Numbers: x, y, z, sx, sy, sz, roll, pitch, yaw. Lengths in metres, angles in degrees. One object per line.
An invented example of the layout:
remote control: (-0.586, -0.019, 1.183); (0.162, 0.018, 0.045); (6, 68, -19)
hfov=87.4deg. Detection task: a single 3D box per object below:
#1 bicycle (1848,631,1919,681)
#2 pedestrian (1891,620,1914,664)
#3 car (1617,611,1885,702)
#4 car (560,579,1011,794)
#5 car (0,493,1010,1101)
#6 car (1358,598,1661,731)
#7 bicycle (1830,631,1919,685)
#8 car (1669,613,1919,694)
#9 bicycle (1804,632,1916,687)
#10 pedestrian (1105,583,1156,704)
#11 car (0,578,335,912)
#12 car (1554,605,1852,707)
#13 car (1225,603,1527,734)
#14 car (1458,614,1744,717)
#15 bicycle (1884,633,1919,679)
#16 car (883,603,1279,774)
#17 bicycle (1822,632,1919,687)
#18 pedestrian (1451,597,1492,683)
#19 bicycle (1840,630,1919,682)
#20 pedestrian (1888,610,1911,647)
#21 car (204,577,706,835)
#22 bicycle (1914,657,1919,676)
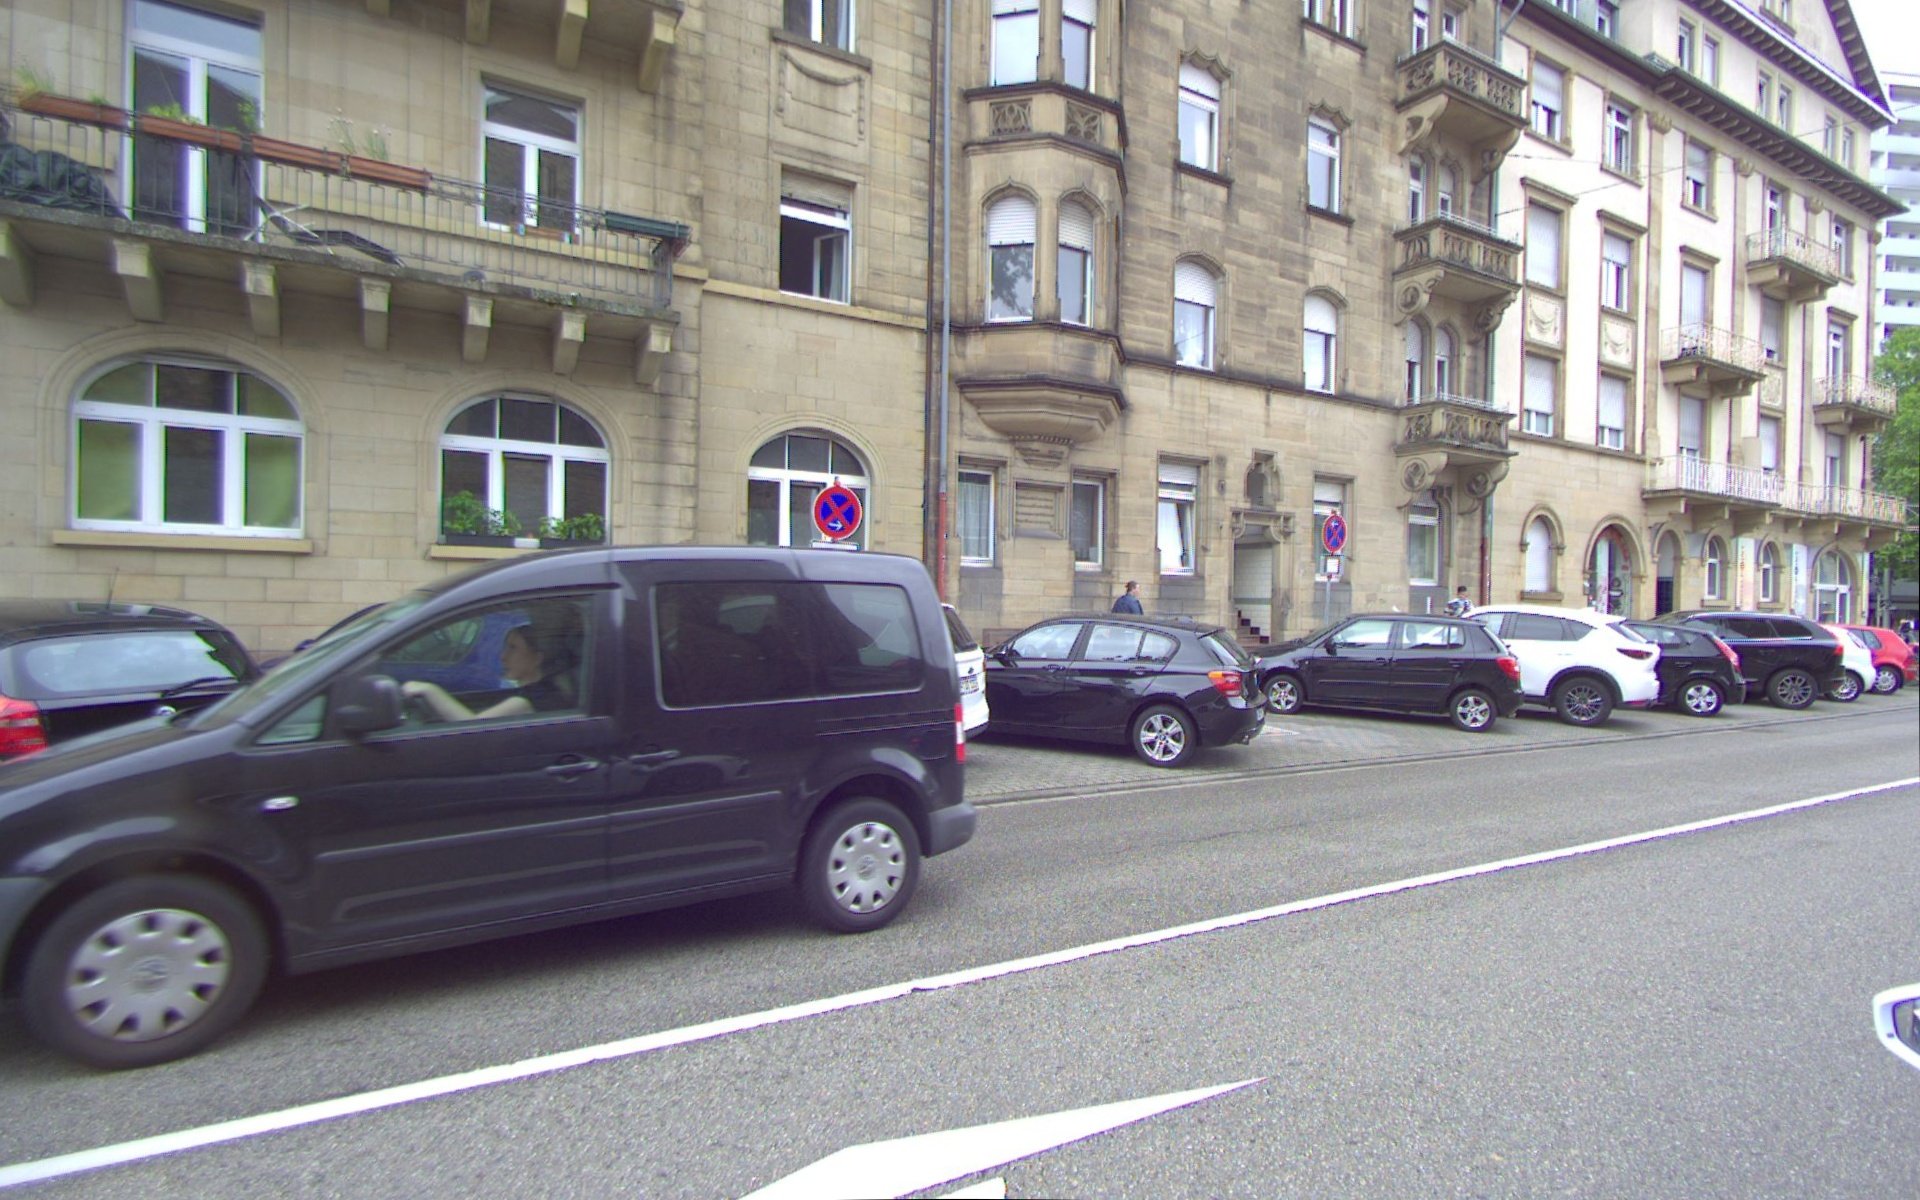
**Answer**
bicycle: (23.572, 1.422, 25.146); (0.437, 1.050, 1.876); (0, 6, -31)
pedestrian: (44.985, 2.012, 47.927); (0.610, 2.040, 0.622); (2, 0, -30)
car: (16.000, 1.096, 20.545); (3.920, 1.492, 1.564); (3, 2, 18)
car: (-1.666, 0.676, 9.622); (3.922, 1.575, 1.702); (3, 2, 22)
car: (-1.905, 0.628, 4.693); (4.086, 1.827, 1.683); (1, -1, -34)
car: (8.531, 0.893, 15.703); (3.935, 1.746, 1.835); (2, 0, 36)
bicycle: (22.495, 1.401, 24.445); (0.437, 1.050, 1.876); (0, 6, -31)
car: (18.301, 1.134, 22.179); (3.919, 1.492, 1.684); (2, 2, 12)
bicycle: (21.309, 1.391, 23.830); (0.436, 1.050, 1.879); (1, 4, -26)
pedestrian: (2.840, 0.712, 16.755); (0.544, 1.984, 0.616); (1, 0, -29)
car: (-5.971, 0.662, 6.323); (3.927, 1.457, 1.730); (3, 2, 28)
car: (13.847, 0.992, 19.012); (4.141, 1.674, 1.732); (2, 0, 18)
car: (5.851, 0.900, 14.414); (3.738, 1.517, 1.569); (3, 1, 22)
car: (10.967, 1.066, 17.542); (3.923, 1.514, 1.731); (2, 0, 23)
bicycle: (24.308, 1.472, 24.930); (0.437, 1.050, 1.876); (0, 6, -31)
car: (1.300, 0.835, 10.924); (3.924, 1.436, 1.660); (2, 1, 25)
bicycle: (22.046, 1.408, 24.162); (0.437, 1.050, 1.876); (0, 6, -31)
pedestrian: (10.998, 0.842, 21.592); (0.544, 1.809, 0.564); (1, 0, -29)
bicycle: (23.049, 1.392, 24.794); (0.437, 1.050, 1.876); (0, 6, -31)
pedestrian: (46.996, 1.417, 50.234); (0.718, 1.795, 0.671); (1, 0, -30)
car: (-4.034, 0.634, 7.946); (3.682, 1.465, 1.820); (3, 2, 30)
bicycle: (25.345, 1.793, 25.168); (1.017, 0.451, 1.876); (-1, 6, -31)
